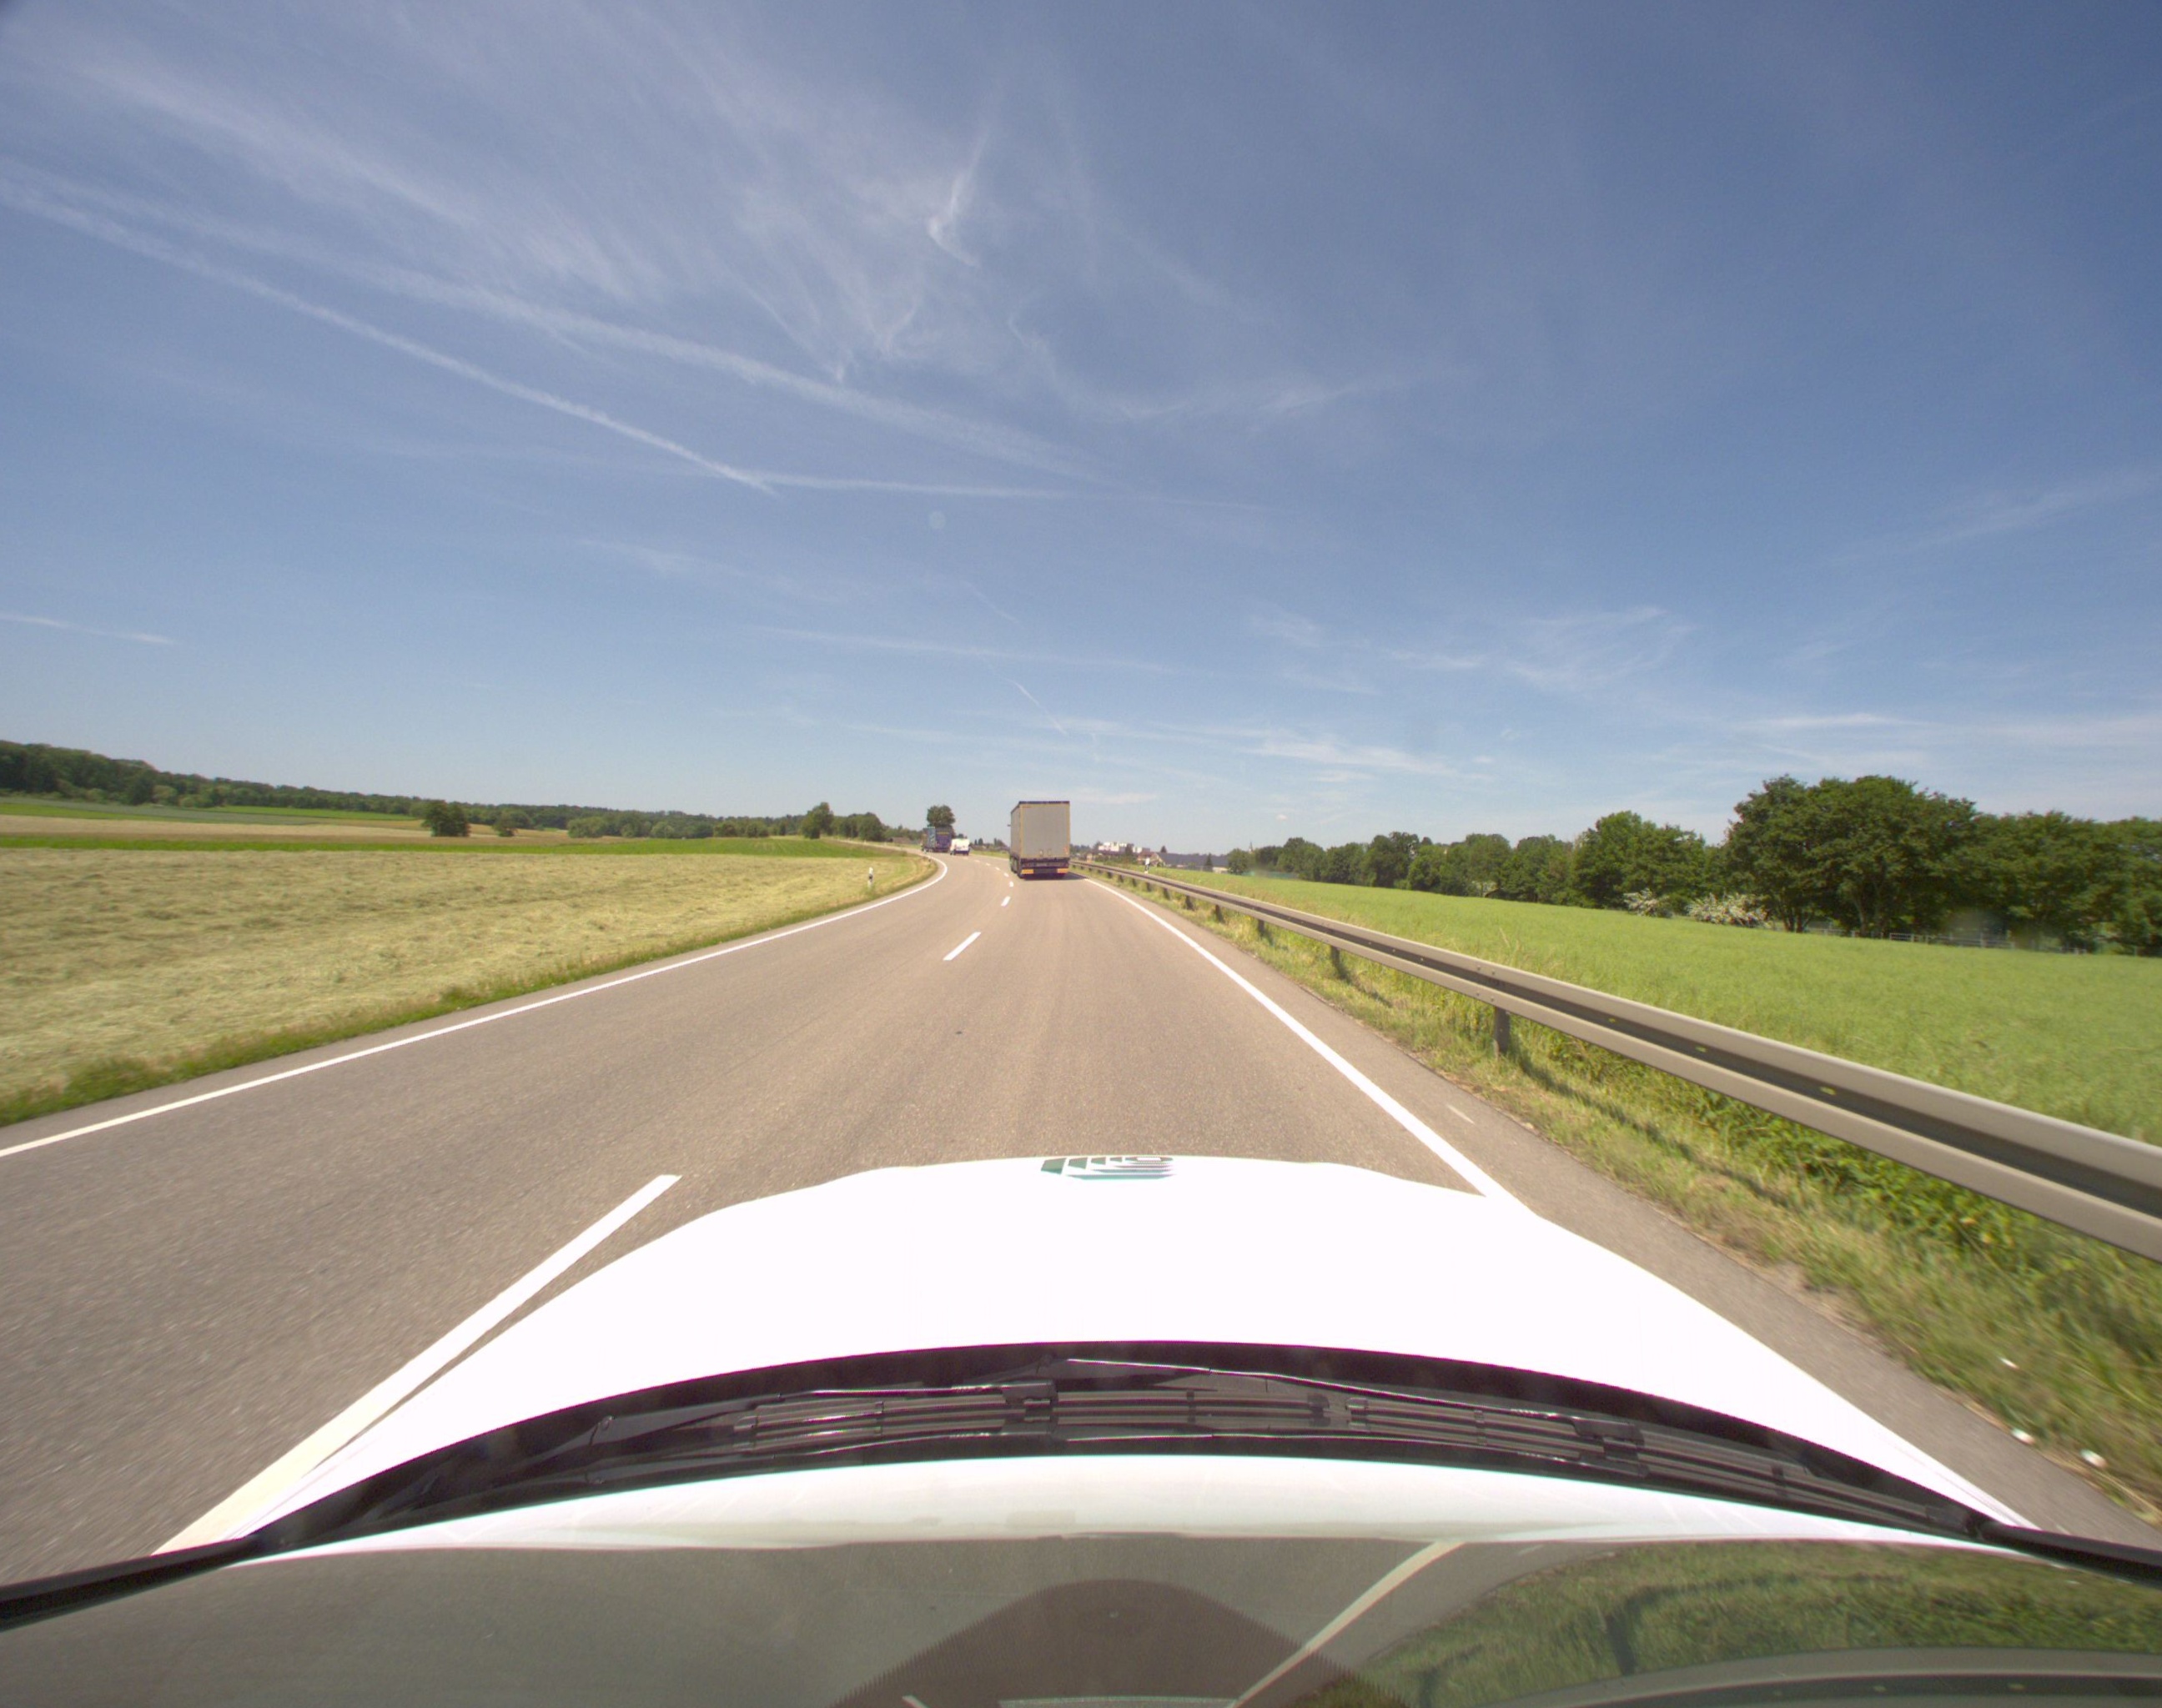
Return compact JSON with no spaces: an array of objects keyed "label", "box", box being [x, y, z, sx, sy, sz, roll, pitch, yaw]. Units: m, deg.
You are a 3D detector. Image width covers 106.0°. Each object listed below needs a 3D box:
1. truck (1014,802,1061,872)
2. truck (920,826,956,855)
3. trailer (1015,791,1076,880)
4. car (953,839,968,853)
[{"label":"truck","box":[-2.955,-1.120,53.971,2.855,4.400,5.062,-1,0,-5]},{"label":"truck","box":[-23.869,-2.130,134.625,3.558,4.392,18.016,2,0,-17]},{"label":"trailer","box":[-2.299,-1.037,47.172,2.863,4.400,13.468,-1,1,-5]},{"label":"car","box":[-16.483,-1.142,111.164,1.728,1.872,3.981,1,1,-14]}]
